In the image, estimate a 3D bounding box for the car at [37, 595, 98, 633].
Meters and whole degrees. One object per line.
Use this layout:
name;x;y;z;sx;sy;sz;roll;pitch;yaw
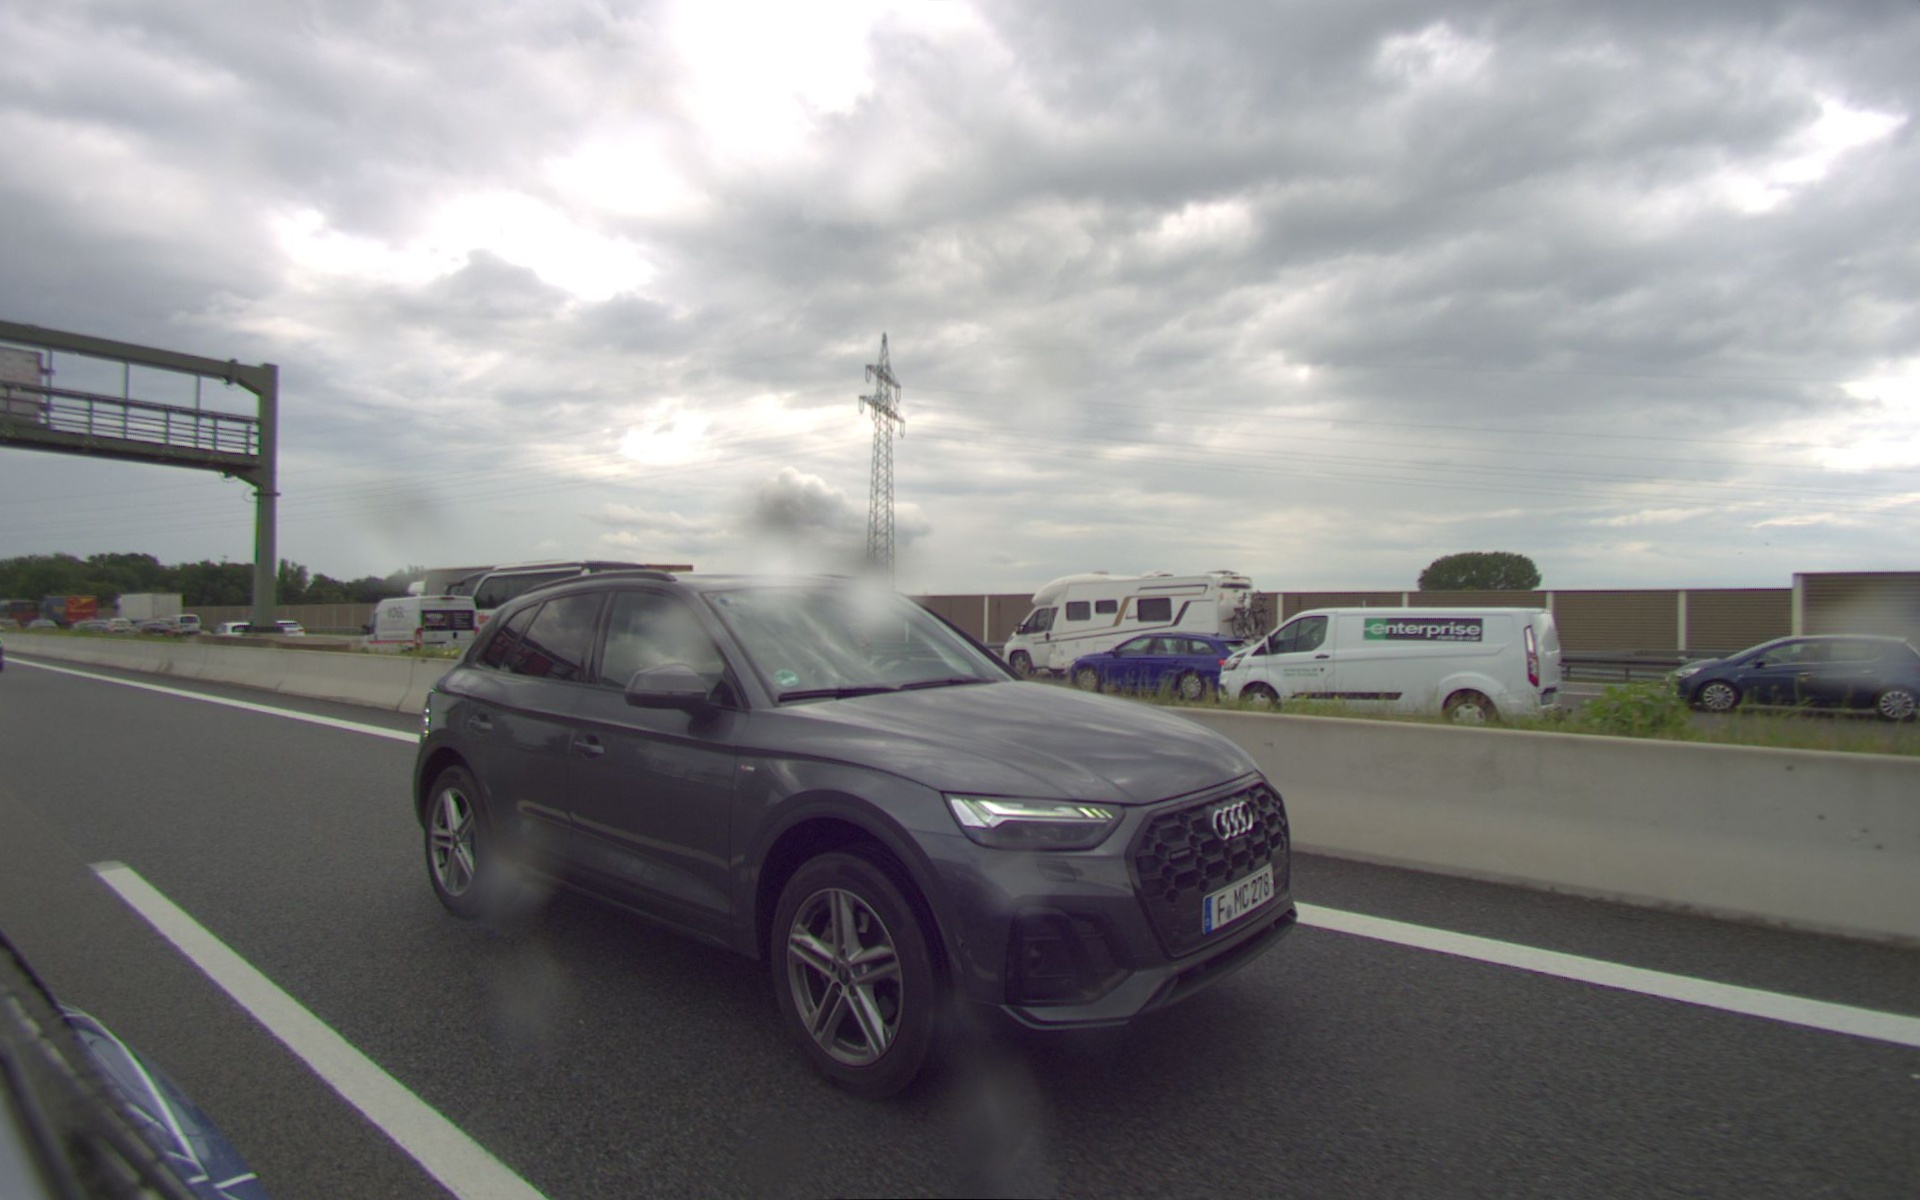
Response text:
car;-100.777;1.622;114.146;14.382;4.155;2.953;-1;-1;40

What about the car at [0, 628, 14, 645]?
car;-88.705;3.329;93.246;4.209;1.535;1.699;-1;-1;40

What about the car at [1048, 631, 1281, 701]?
car;4.570;1.422;23.117;4.943;1.396;1.943;-1;-2;42

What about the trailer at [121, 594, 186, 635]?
trailer;-85.942;1.554;107.714;12.688;4.147;2.871;-1;-1;40

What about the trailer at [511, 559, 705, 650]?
trailer;-17.438;0.295;49.228;12.970;3.963;2.997;-1;-2;42

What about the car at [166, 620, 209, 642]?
car;-62.620;2.509;82.001;4.574;1.753;1.772;-1;-1;40

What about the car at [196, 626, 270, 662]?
car;-33.303;1.991;46.344;4.373;1.551;1.719;-1;-1;40

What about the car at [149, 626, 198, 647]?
car;-56.198;2.610;72.301;4.856;1.392;1.769;-1;0;40

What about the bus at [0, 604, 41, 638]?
bus;-109.095;2.449;116.732;12.748;3.638;2.861;-1;-1;40

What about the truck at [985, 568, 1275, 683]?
truck;4.546;0.696;28.386;7.831;2.835;2.663;-1;-2;42

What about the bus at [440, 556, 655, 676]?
bus;-14.887;0.590;35.884;10.630;3.707;2.626;-1;-2;42

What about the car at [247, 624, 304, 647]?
car;-44.835;2.299;66.251;4.856;1.392;1.769;-1;0;40

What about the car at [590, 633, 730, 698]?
car;-7.104;1.487;23.867;3.325;1.399;1.598;-1;-1;40

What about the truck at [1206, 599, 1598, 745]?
truck;7.104;1.052;16.698;5.541;2.015;2.220;-1;-2;41

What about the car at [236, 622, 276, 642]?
car;-59.164;2.643;85.021;3.952;1.609;1.770;-1;-1;40

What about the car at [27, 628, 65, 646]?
car;-76.802;3.108;85.046;4.856;1.437;1.699;-1;0;40

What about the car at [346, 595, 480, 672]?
car;-18.613;1.094;34.324;5.707;2.369;2.114;-1;-1;41

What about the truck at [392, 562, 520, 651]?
truck;-24.501;0.365;49.020;7.531;3.991;2.856;-1;-1;41

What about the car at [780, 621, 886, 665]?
car;-4.709;1.547;37.316;3.887;1.554;1.768;-1;-2;42

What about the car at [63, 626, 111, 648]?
car;-60.456;2.527;70.071;4.856;1.392;1.769;-1;0;40

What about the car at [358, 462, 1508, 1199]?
car;-0.674;0.616;4.476;5.165;1.704;1.889;-1;-1;41

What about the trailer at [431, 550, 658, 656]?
trailer;-18.349;0.221;43.699;14.289;3.991;2.856;-1;-1;41

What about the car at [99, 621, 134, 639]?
car;-81.110;2.859;97.320;4.578;1.603;1.769;-1;-1;40

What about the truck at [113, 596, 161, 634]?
truck;-91.253;1.679;112.185;6.617;4.147;2.871;-1;-1;40

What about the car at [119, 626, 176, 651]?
car;-48.124;2.239;59.884;4.585;1.392;1.769;-1;0;40

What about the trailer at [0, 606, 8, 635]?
trailer;-147.444;3.165;153.159;13.391;4.139;3.623;-1;-1;41

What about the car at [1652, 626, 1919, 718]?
car;15.633;1.246;18.462;4.771;1.499;1.788;-1;-2;42

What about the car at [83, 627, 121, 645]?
car;-74.090;3.114;87.410;4.856;1.437;1.699;-1;0;40
